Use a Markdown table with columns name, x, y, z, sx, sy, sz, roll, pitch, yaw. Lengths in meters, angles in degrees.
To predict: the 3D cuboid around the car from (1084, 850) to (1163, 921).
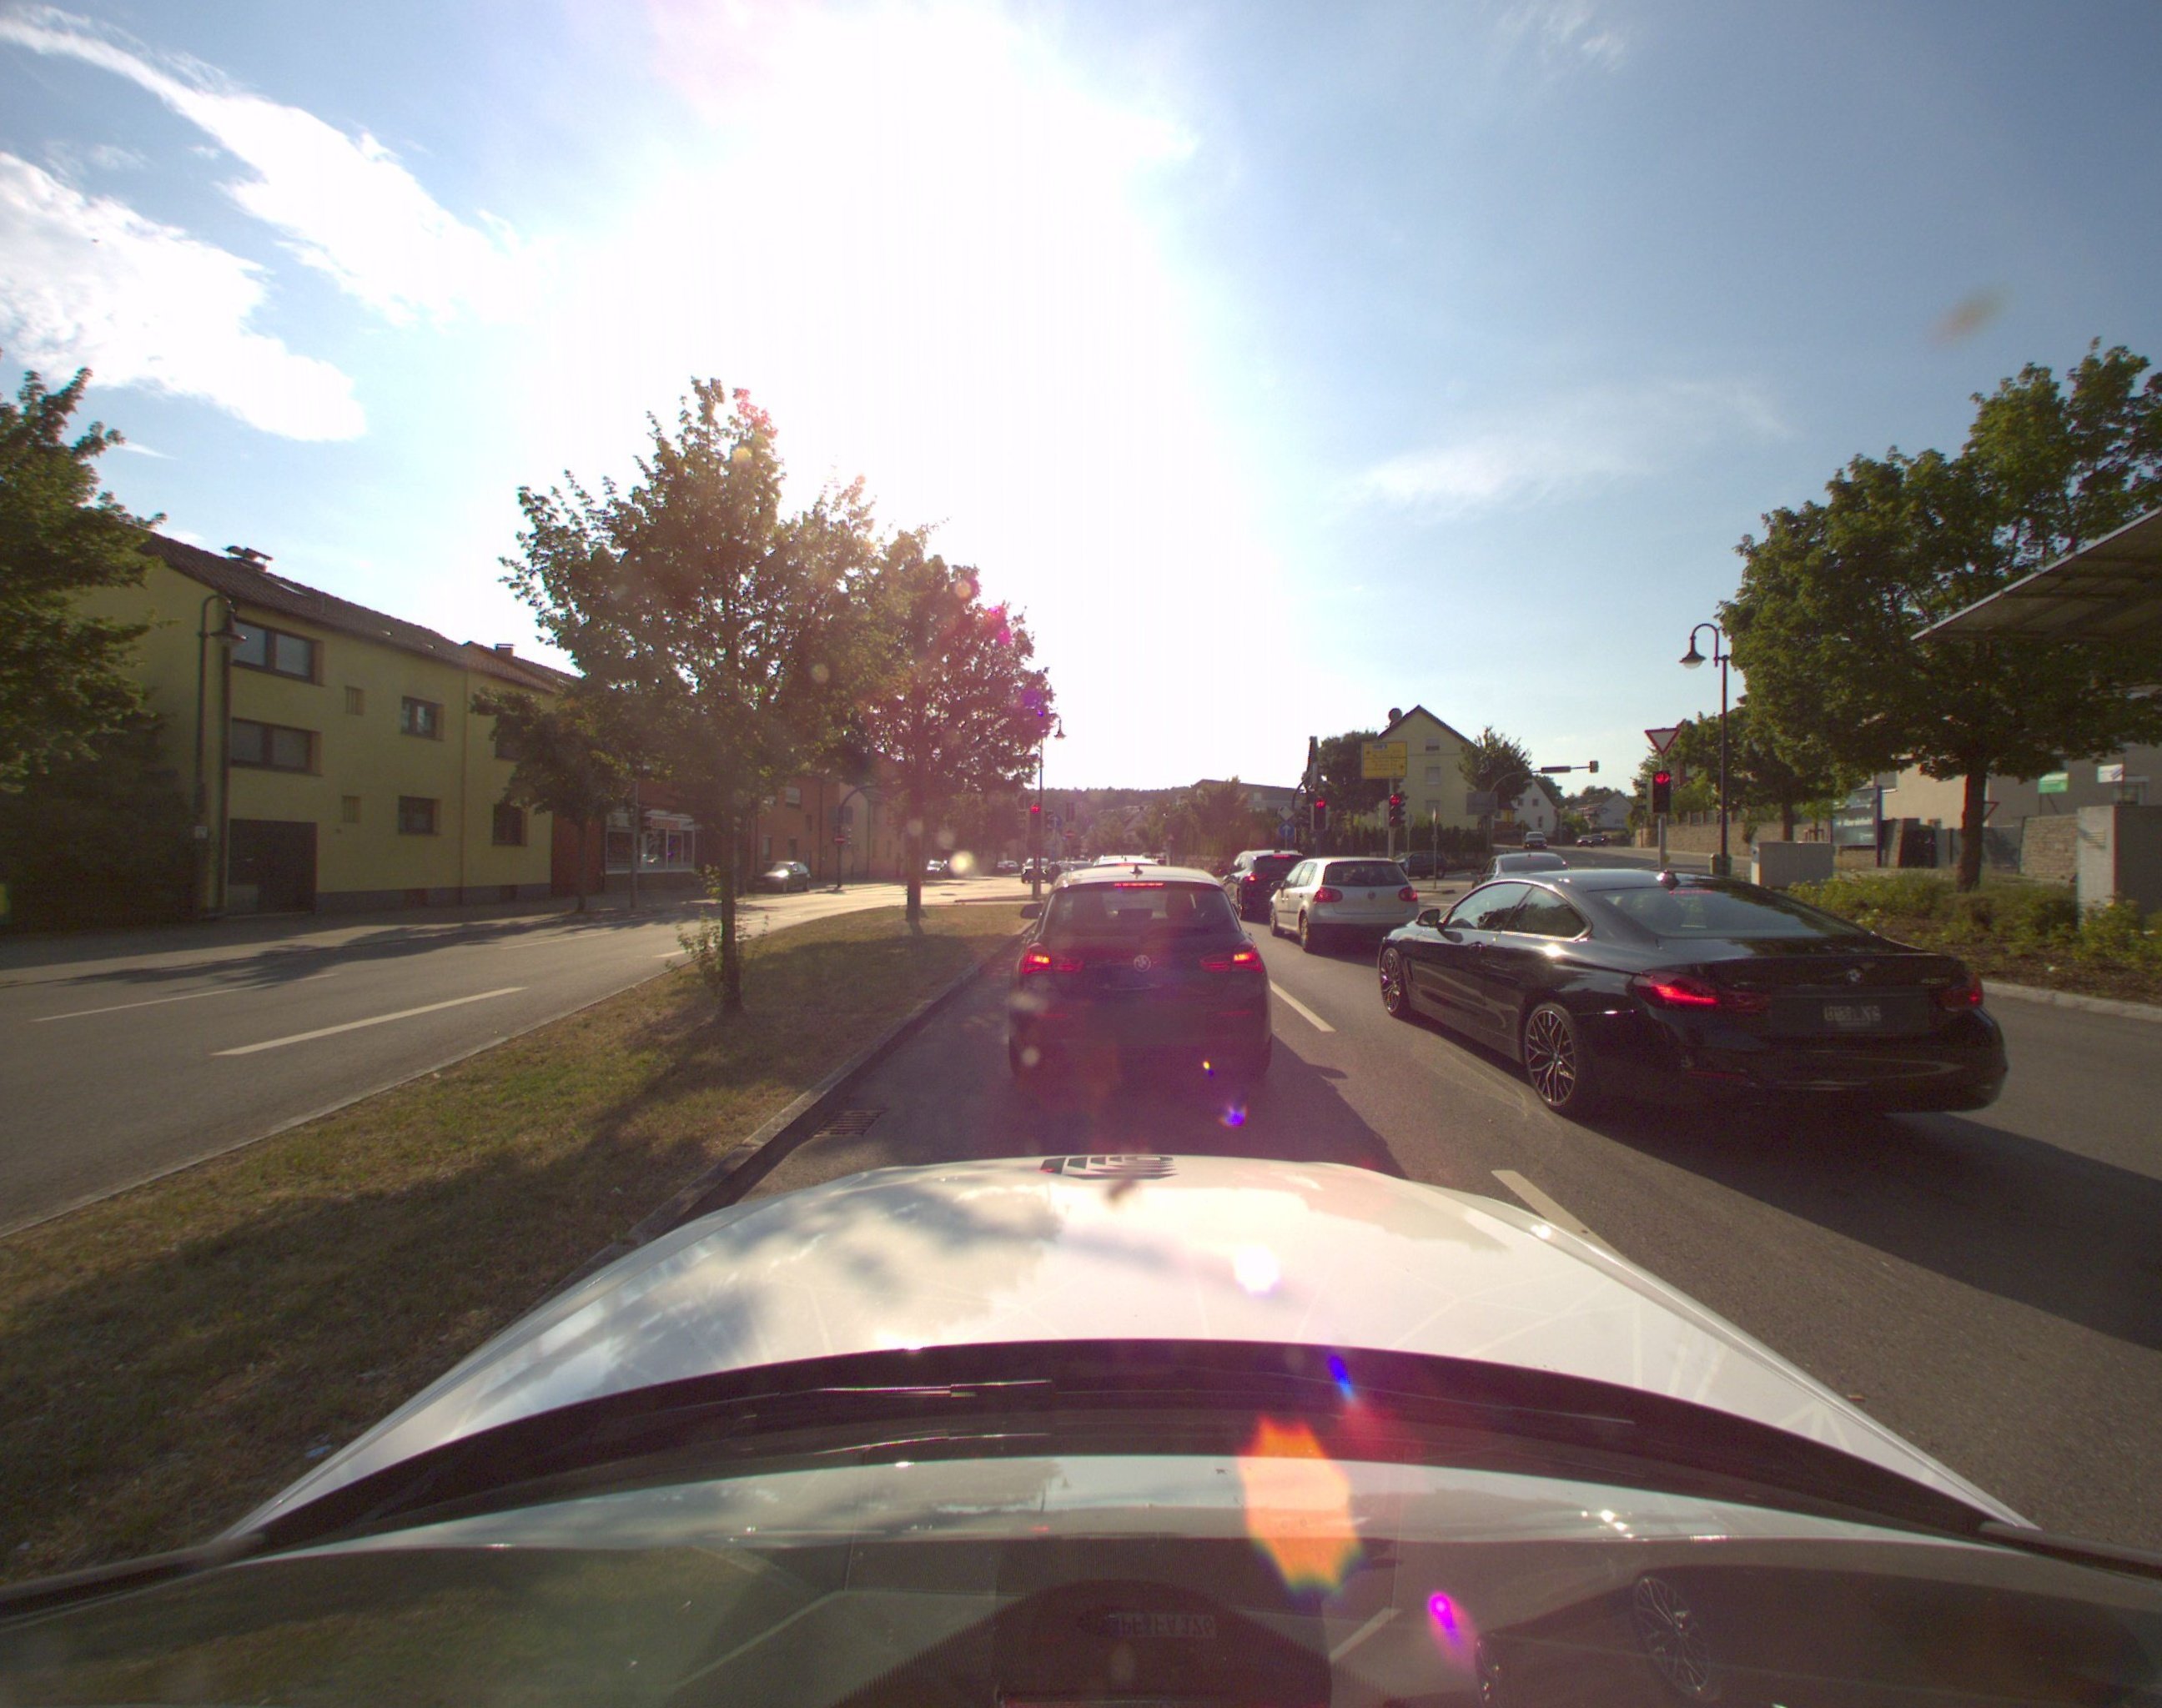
| name | x | y | z | sx | sy | sz | roll | pitch | yaw |
| --- | --- | --- | --- | --- | --- | --- | --- | --- | --- |
| car | 1.118 | 0.730 | 21.084 | 1.808 | 1.641 | 4.245 | -1 | 0 | 3 |

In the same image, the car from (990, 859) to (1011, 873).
| name | x | y | z | sx | sy | sz | roll | pitch | yaw |
| --- | --- | --- | --- | --- | --- | --- | --- | --- | --- |
| car | -9.617 | 1.389 | 97.718 | 1.916 | 1.596 | 4.004 | 0 | 0 | 4 |

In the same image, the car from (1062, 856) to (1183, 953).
| name | x | y | z | sx | sy | sz | roll | pitch | yaw |
| --- | --- | --- | --- | --- | --- | --- | --- | --- | --- |
| car | 0.750 | 0.766 | 14.352 | 1.808 | 1.451 | 4.245 | -1 | 0 | 3 |

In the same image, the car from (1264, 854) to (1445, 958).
| name | x | y | z | sx | sy | sz | roll | pitch | yaw |
| --- | --- | --- | --- | --- | --- | --- | --- | --- | --- |
| car | 4.348 | 0.741 | 13.693 | 1.808 | 1.446 | 4.351 | -1 | 0 | 3 |

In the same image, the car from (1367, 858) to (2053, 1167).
| name | x | y | z | sx | sy | sz | roll | pitch | yaw |
| --- | --- | --- | --- | --- | --- | --- | --- | --- | --- |
| car | 3.634 | 0.739 | 5.914 | 1.808 | 1.388 | 4.351 | -1 | 0 | 3 |

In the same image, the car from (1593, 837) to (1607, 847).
| name | x | y | z | sx | sy | sz | roll | pitch | yaw |
| --- | --- | --- | --- | --- | --- | --- | --- | --- | --- |
| car | 84.277 | -1.990 | 132.245 | 1.759 | 1.580 | 4.025 | -1 | 0 | 35 |

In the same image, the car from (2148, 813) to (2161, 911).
| name | x | y | z | sx | sy | sz | roll | pitch | yaw |
| --- | --- | --- | --- | --- | --- | --- | --- | --- | --- |
| car | 19.507 | 0.119 | 12.218 | 3.958 | 1.608 | 1.861 | 0 | 0 | 14 |

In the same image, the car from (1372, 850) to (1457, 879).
| name | x | y | z | sx | sy | sz | roll | pitch | yaw |
| --- | --- | --- | --- | --- | --- | --- | --- | --- | --- |
| car | 18.227 | 0.571 | 44.553 | 4.061 | 1.507 | 1.783 | 0 | 0 | -14 |

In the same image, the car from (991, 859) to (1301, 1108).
| name | x | y | z | sx | sy | sz | roll | pitch | yaw |
| --- | --- | --- | --- | --- | --- | --- | --- | --- | --- |
| car | 0.501 | 0.767 | 6.908 | 1.783 | 1.414 | 4.351 | -1 | 0 | 3 |

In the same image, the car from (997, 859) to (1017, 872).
| name | x | y | z | sx | sy | sz | roll | pitch | yaw |
| --- | --- | --- | --- | --- | --- | --- | --- | --- | --- |
| car | -9.310 | 1.398 | 103.220 | 1.916 | 1.596 | 4.004 | 0 | 0 | 4 |

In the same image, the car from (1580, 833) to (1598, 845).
| name | x | y | z | sx | sy | sz | roll | pitch | yaw |
| --- | --- | --- | --- | --- | --- | --- | --- | --- | --- |
| car | 70.578 | -2.080 | 113.140 | 1.759 | 1.580 | 4.025 | -1 | 0 | 36 |

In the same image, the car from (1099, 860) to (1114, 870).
| name | x | y | z | sx | sy | sz | roll | pitch | yaw |
| --- | --- | --- | --- | --- | --- | --- | --- | --- | --- |
| car | 4.047 | 1.729 | 130.136 | 1.858 | 1.485 | 4.652 | 0 | 0 | -4 |

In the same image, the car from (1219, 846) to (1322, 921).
| name | x | y | z | sx | sy | sz | roll | pitch | yaw |
| --- | --- | --- | --- | --- | --- | --- | --- | --- | --- |
| car | 4.586 | 0.660 | 20.310 | 1.808 | 1.666 | 4.351 | -1 | 0 | 3 |

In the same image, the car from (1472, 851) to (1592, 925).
| name | x | y | z | sx | sy | sz | roll | pitch | yaw |
| --- | --- | --- | --- | --- | --- | --- | --- | --- | --- |
| car | 9.923 | 0.660 | 18.247 | 1.667 | 1.435 | 4.613 | -1 | 0 | 20 |

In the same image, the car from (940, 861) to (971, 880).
| name | x | y | z | sx | sy | sz | roll | pitch | yaw |
| --- | --- | --- | --- | --- | --- | --- | --- | --- | --- |
| car | -11.336 | 1.486 | 73.595 | 1.916 | 1.596 | 4.004 | 0 | 0 | 4 |

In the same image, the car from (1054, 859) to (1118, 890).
| name | x | y | z | sx | sy | sz | roll | pitch | yaw |
| --- | --- | --- | --- | --- | --- | --- | --- | --- | --- |
| car | 0.204 | 1.013 | 41.943 | 1.775 | 1.458 | 3.967 | 0 | 0 | -25 |

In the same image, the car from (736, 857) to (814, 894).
| name | x | y | z | sx | sy | sz | roll | pitch | yaw |
| --- | --- | --- | --- | --- | --- | --- | --- | --- | --- |
| car | -14.183 | 0.954 | 38.017 | 1.834 | 1.552 | 4.005 | 2 | 0 | 5 |

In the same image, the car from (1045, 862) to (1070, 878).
| name | x | y | z | sx | sy | sz | roll | pitch | yaw |
| --- | --- | --- | --- | --- | --- | --- | --- | --- | --- |
| car | -1.979 | 1.343 | 69.435 | 1.685 | 1.353 | 4.004 | 0 | 0 | 4 |

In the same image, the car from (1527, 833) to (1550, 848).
| name | x | y | z | sx | sy | sz | roll | pitch | yaw |
| --- | --- | --- | --- | --- | --- | --- | --- | --- | --- |
| car | 39.932 | -1.190 | 71.108 | 1.694 | 1.244 | 4.025 | -1 | 1 | 29 |

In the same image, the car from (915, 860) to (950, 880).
| name | x | y | z | sx | sy | sz | roll | pitch | yaw |
| --- | --- | --- | --- | --- | --- | --- | --- | --- | --- |
| car | -12.278 | 1.324 | 67.648 | 1.916 | 1.596 | 4.004 | 0 | 0 | 4 |
